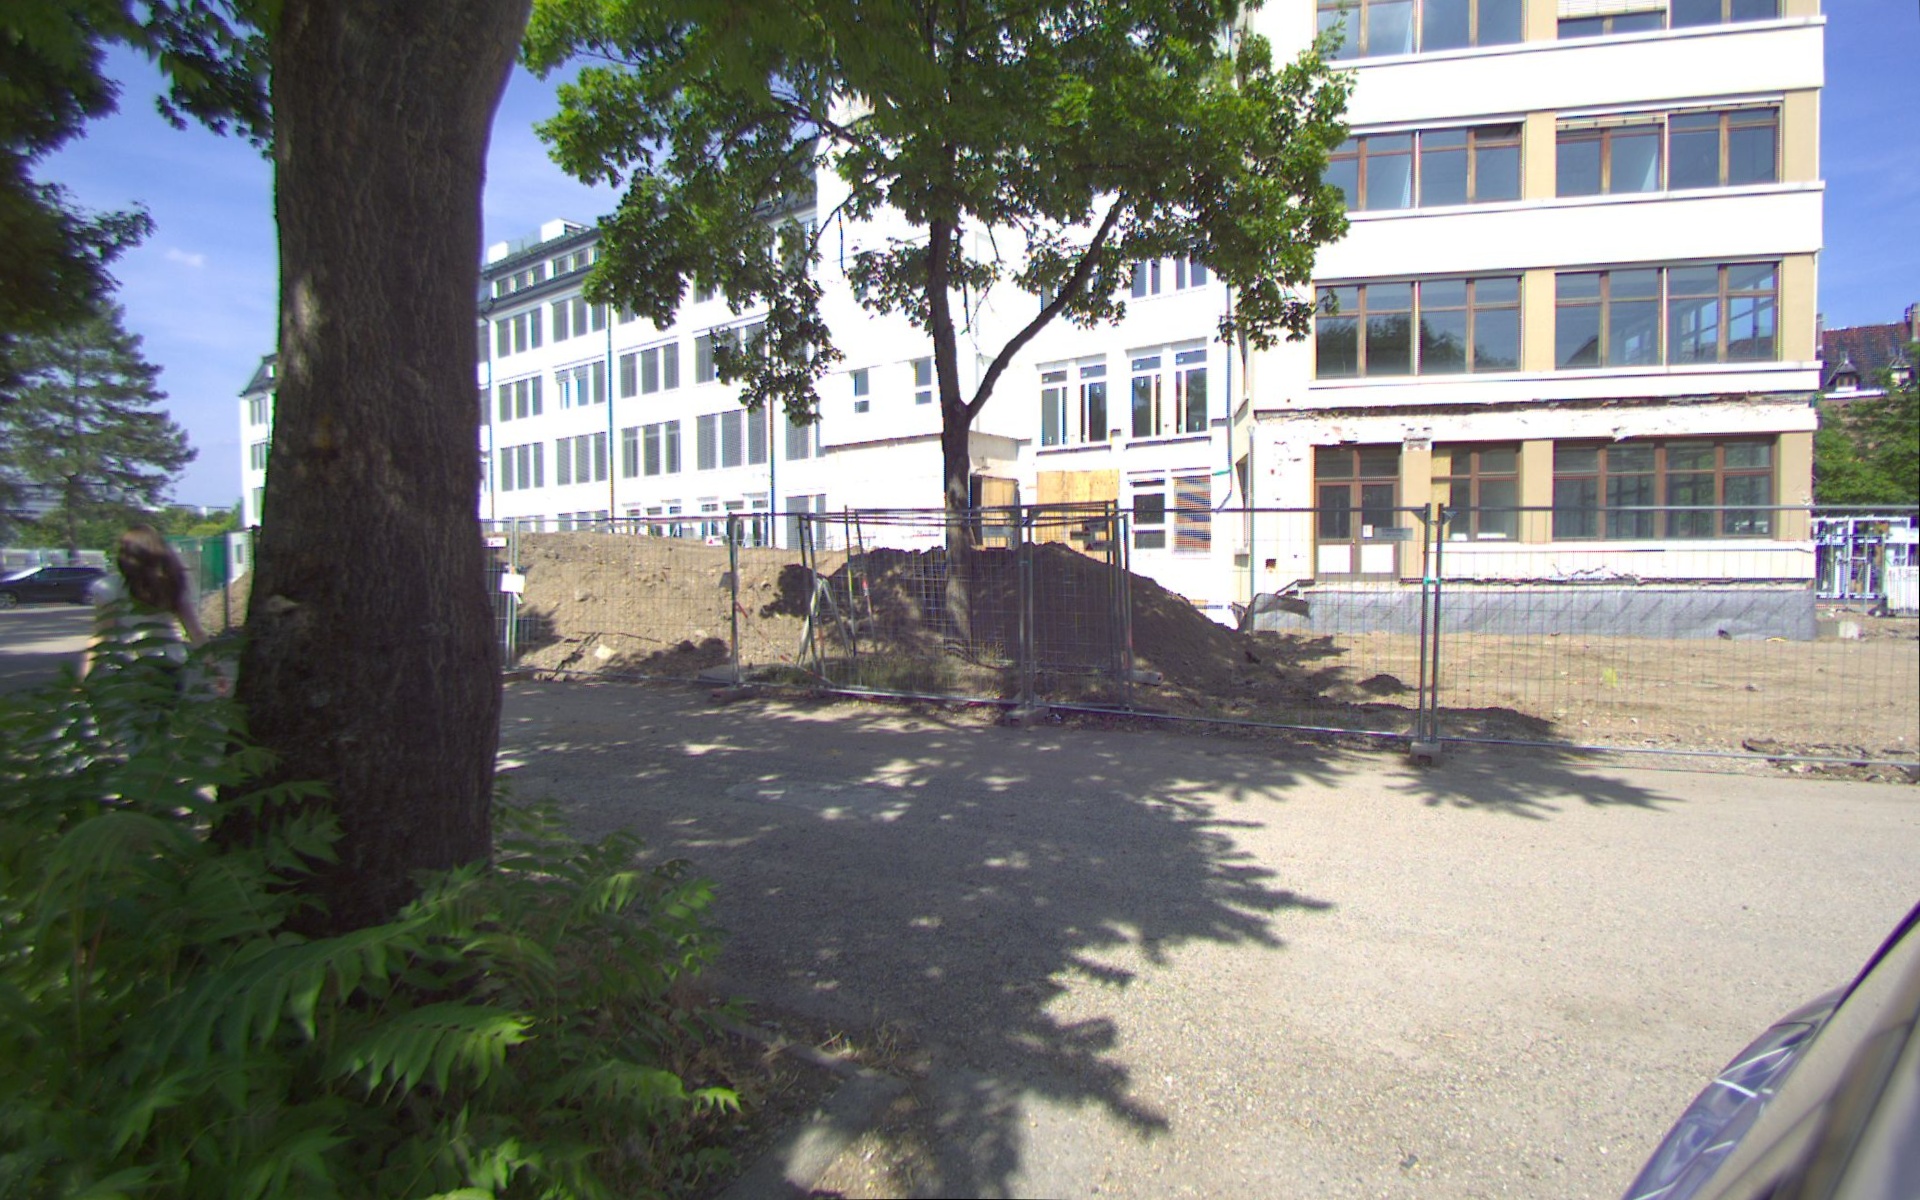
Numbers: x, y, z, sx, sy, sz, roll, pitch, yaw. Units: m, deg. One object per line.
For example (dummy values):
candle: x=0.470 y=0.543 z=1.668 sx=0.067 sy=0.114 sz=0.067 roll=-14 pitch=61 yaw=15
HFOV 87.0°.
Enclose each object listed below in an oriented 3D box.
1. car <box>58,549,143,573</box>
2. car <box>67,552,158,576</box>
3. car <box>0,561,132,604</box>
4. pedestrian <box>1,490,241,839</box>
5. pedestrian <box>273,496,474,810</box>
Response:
car: x=-59.191 y=-2.695 z=69.757 sx=1.545 sy=1.622 sz=4.303 roll=1 pitch=3 yaw=40
car: x=-57.249 y=-2.447 z=68.410 sx=1.545 sy=1.622 sz=4.514 roll=1 pitch=3 yaw=40
car: x=-35.984 y=-0.733 z=40.452 sx=1.751 sy=1.638 sz=4.251 roll=1 pitch=2 yaw=40
pedestrian: x=-4.390 y=0.287 z=5.318 sx=0.774 sy=1.660 sz=0.731 roll=2 pitch=2 yaw=28
pedestrian: x=-3.569 y=0.276 z=6.182 sx=0.847 sy=1.749 sz=0.749 roll=2 pitch=2 yaw=31
